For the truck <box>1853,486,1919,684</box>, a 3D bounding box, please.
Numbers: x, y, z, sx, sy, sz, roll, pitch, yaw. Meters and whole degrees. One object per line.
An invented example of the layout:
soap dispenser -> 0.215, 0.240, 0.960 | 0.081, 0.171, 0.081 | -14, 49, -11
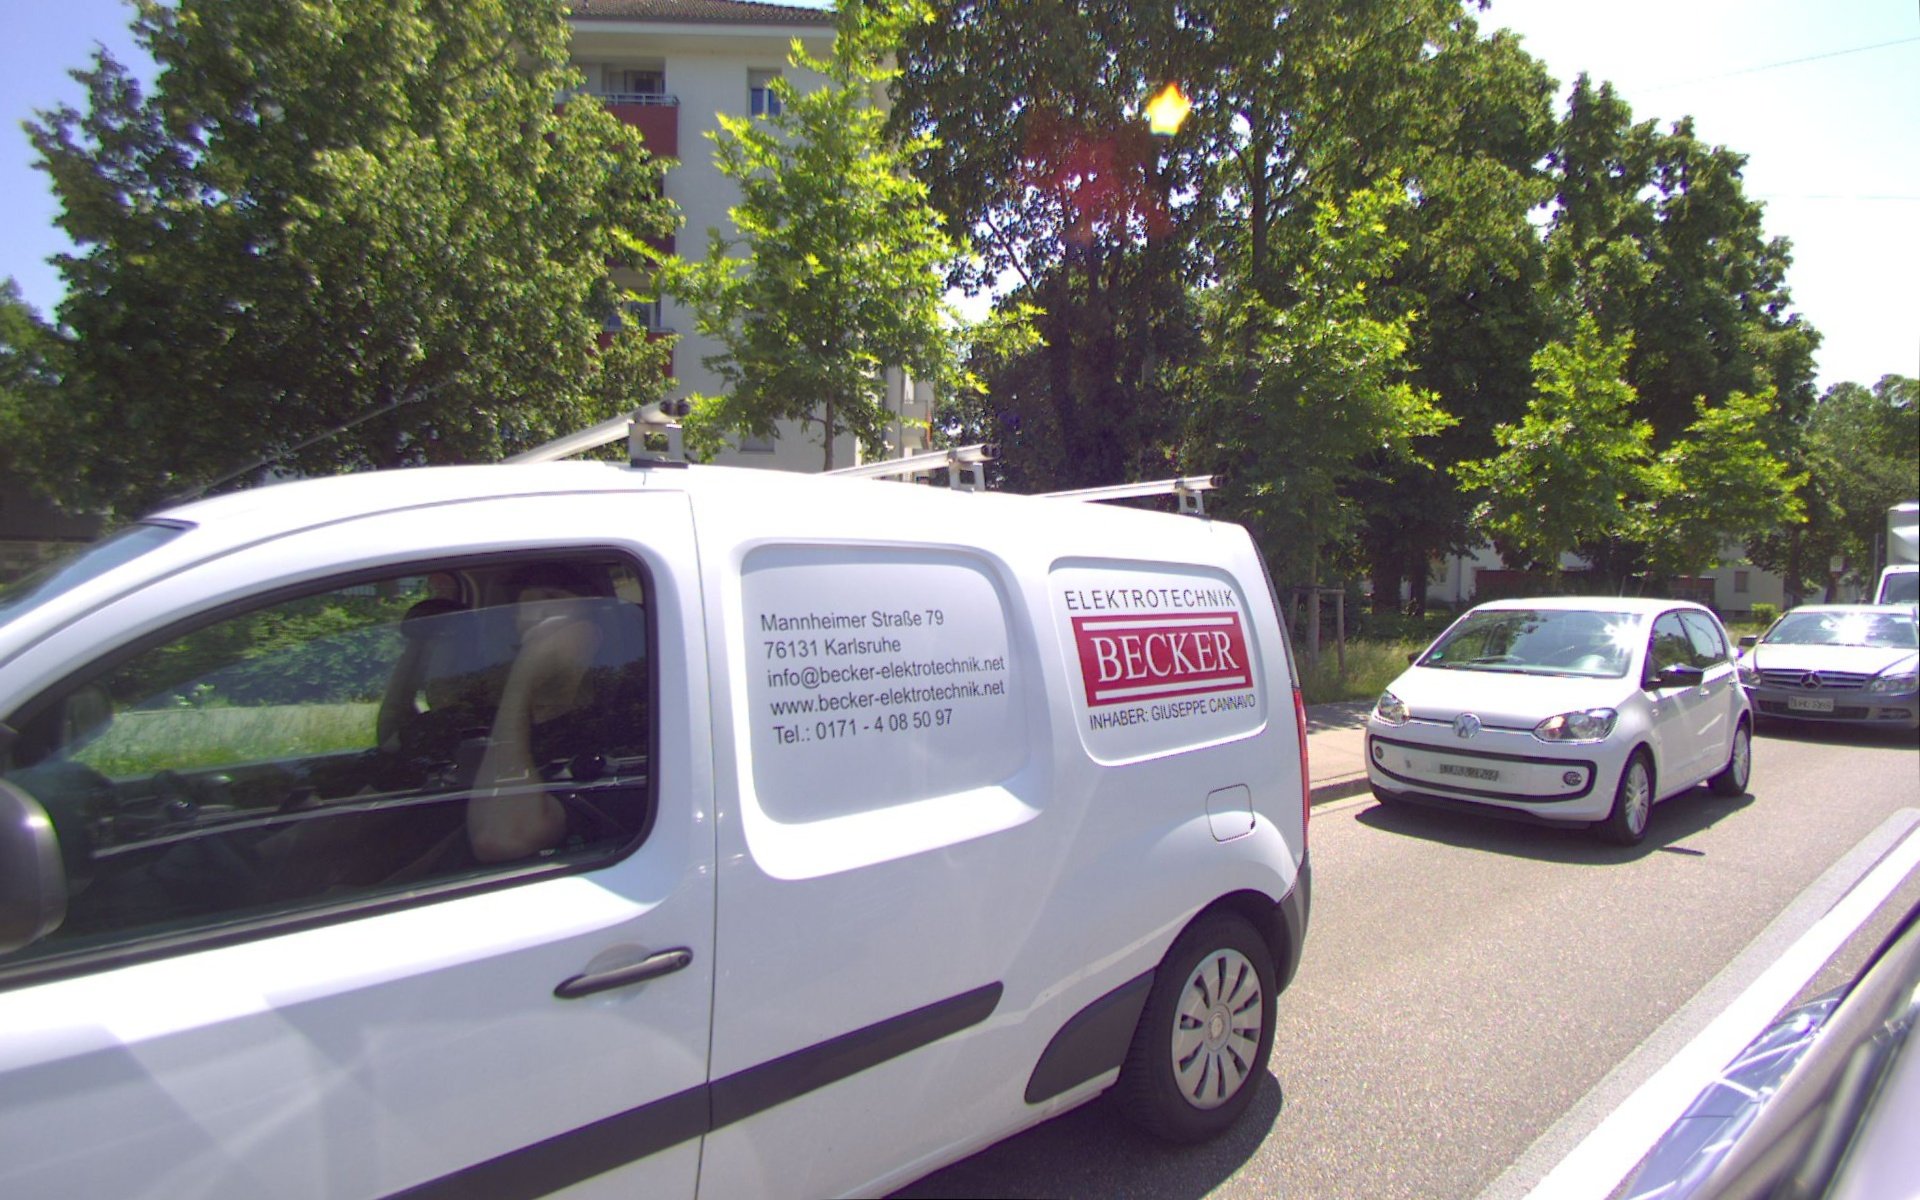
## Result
truck -> 19.517, -0.264, 19.181 | 8.158, 3.319, 2.295 | 0, 1, -37

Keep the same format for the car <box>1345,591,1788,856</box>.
car -> 4.596, 0.673, 7.459 | 3.786, 1.468, 1.662 | 0, 0, -40

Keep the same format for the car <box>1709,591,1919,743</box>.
car -> 10.508, 0.642, 11.822 | 3.899, 1.478, 1.903 | -1, 1, -39

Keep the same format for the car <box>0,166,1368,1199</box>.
car -> -0.984, 0.448, 2.446 | 4.376, 1.905, 1.828 | 0, 0, -40
